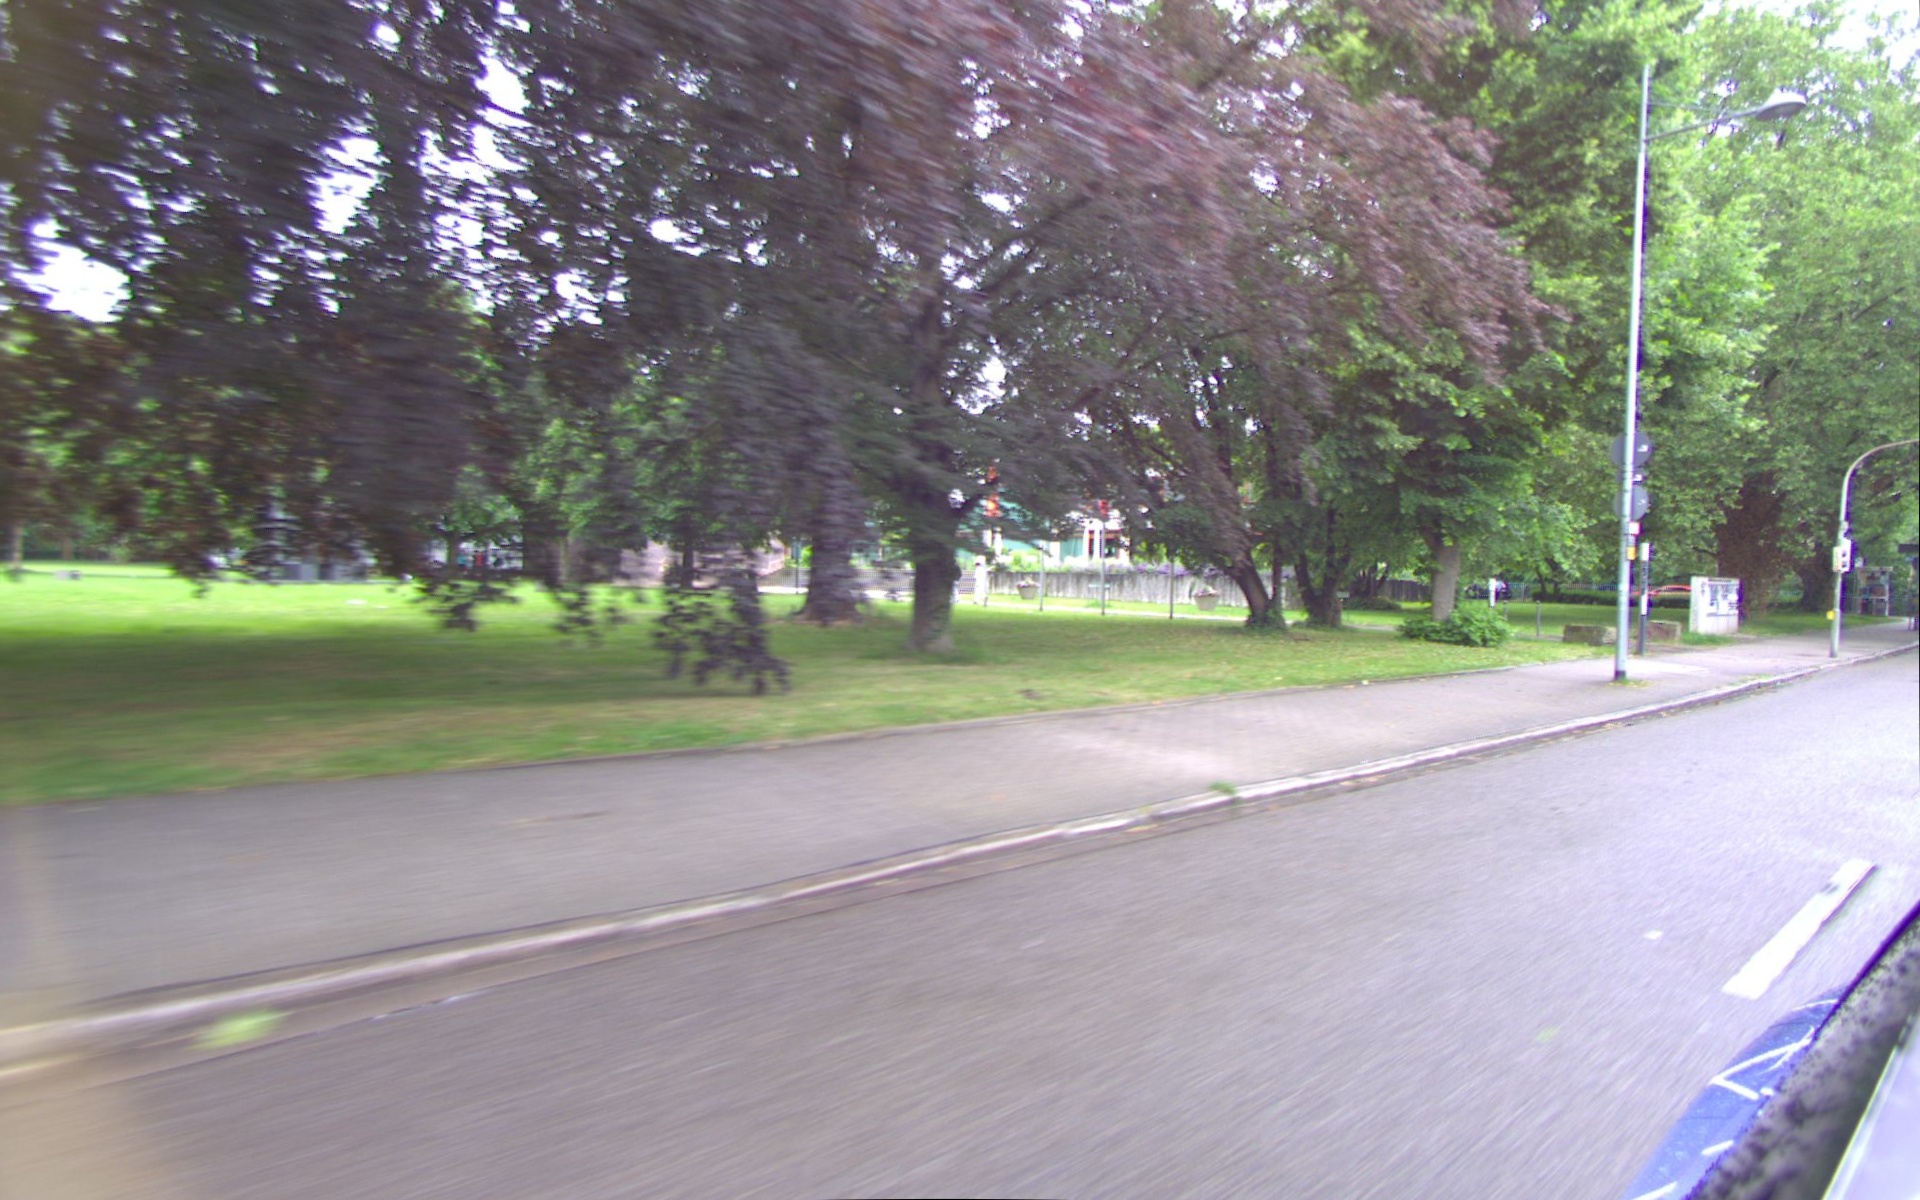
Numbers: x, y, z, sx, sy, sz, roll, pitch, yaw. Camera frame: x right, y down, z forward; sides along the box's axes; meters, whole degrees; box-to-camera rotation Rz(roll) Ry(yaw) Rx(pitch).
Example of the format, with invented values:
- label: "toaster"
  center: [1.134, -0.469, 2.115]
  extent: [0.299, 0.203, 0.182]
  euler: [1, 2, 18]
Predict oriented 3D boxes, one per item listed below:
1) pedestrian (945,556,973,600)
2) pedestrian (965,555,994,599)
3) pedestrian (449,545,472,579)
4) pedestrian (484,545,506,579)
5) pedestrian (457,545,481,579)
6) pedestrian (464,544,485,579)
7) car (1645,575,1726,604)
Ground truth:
- label: "pedestrian"
  center: [-0.058, -0.885, 41.273]
  extent: [0.838, 1.785, 0.760]
  euler: [-1, -1, 44]
- label: "pedestrian"
  center: [0.816, -0.929, 41.952]
  extent: [0.838, 1.785, 0.865]
  euler: [-1, -1, 44]
- label: "pedestrian"
  center: [-26.737, -2.045, 54.185]
  extent: [0.825, 1.785, 0.858]
  euler: [-1, 0, 1]
- label: "pedestrian"
  center: [-25.353, -2.068, 55.220]
  extent: [0.838, 1.785, 0.844]
  euler: [-1, -1, 44]
- label: "pedestrian"
  center: [-26.737, -2.046, 55.135]
  extent: [0.829, 1.785, 0.854]
  euler: [-1, -1, 16]
- label: "pedestrian"
  center: [-25.726, -2.038, 53.623]
  extent: [0.838, 1.785, 0.760]
  euler: [-1, -1, 44]
- label: "car"
  center: [47.953, -0.689, 66.932]
  extent: [1.966, 1.737, 3.993]
  euler: [0, 3, -43]
